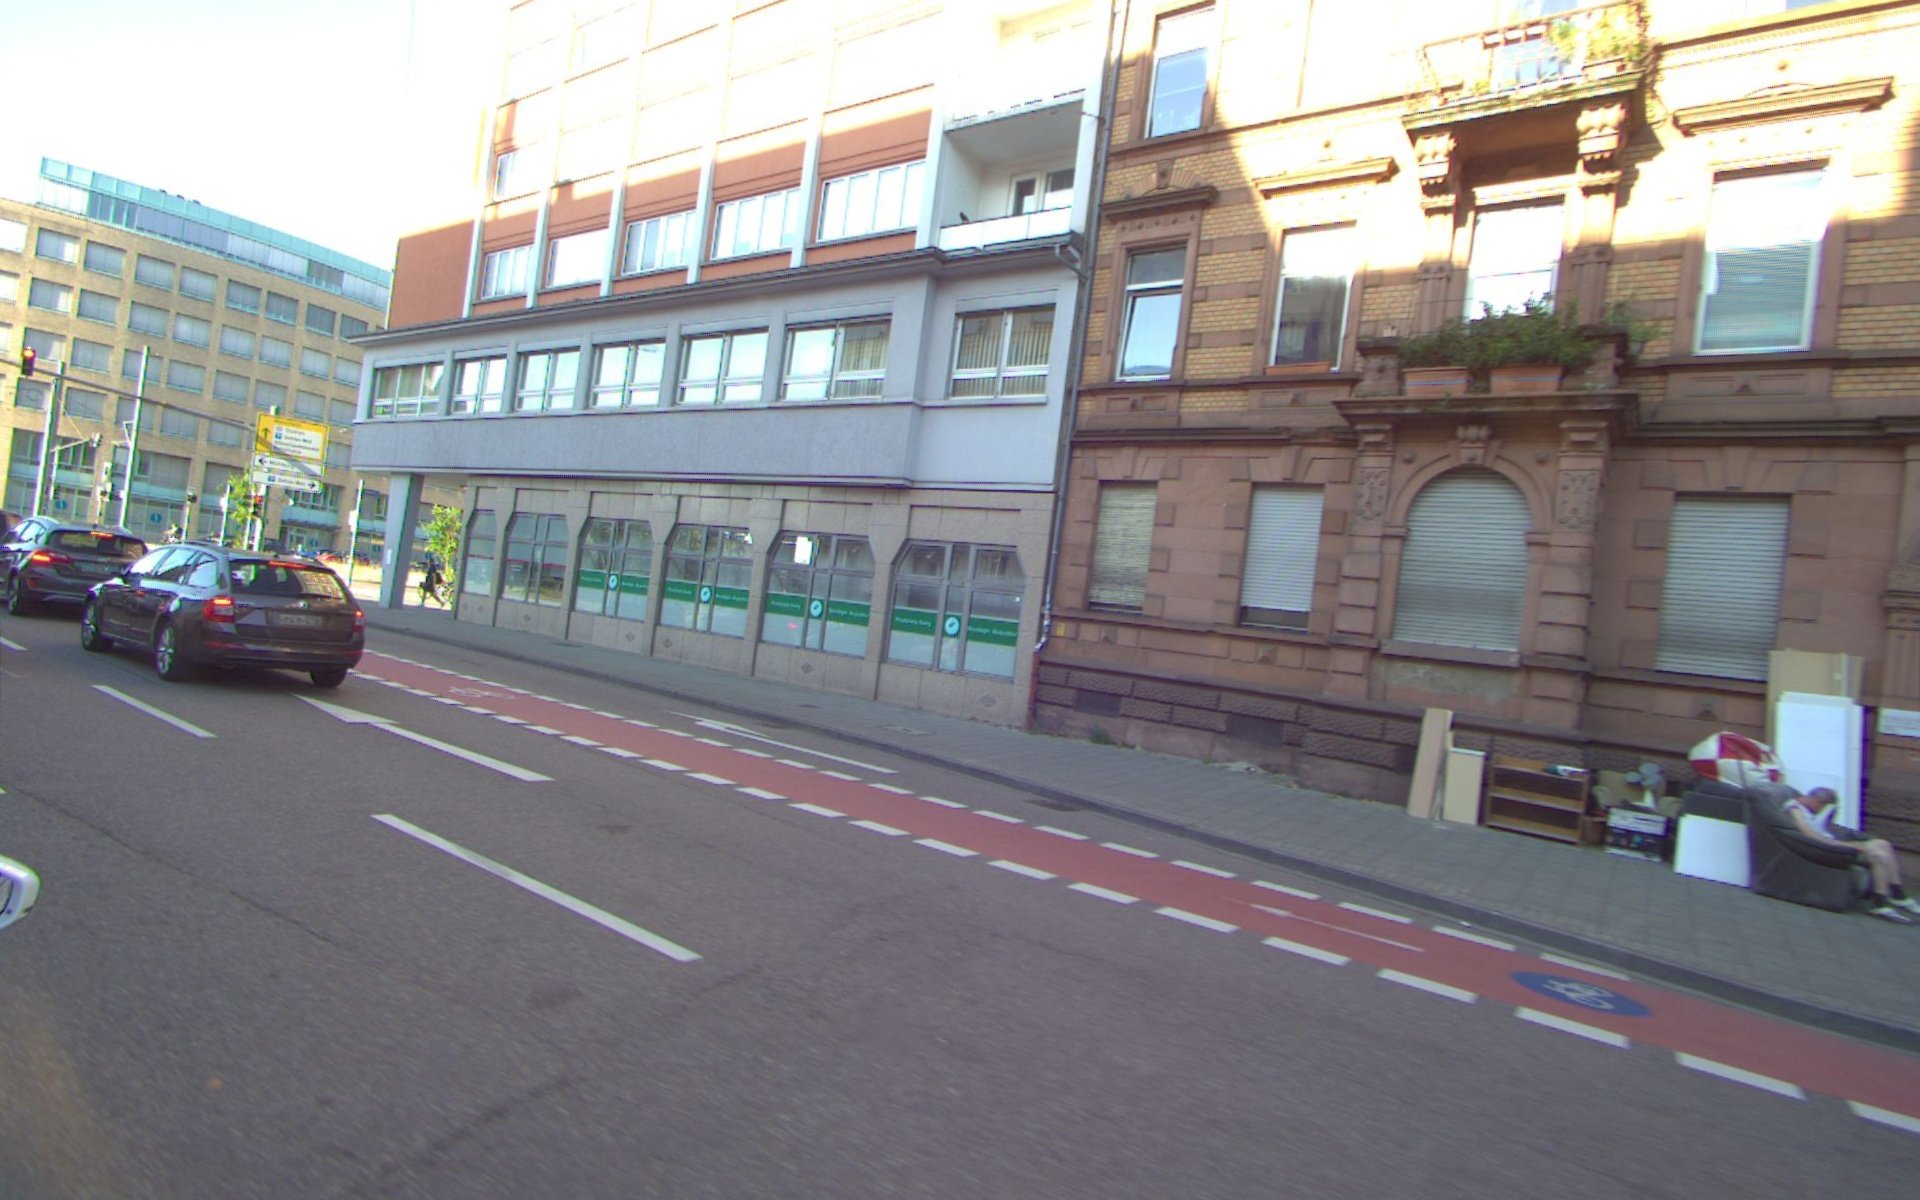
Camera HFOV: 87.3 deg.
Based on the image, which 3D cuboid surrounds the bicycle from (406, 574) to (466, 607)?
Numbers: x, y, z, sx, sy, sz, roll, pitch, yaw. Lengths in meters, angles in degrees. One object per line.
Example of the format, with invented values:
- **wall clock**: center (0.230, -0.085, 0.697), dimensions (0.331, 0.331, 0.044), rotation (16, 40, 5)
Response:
- **bicycle**: center (-22.235, -0.397, 42.740), dimensions (0.731, 1.130, 2.087), rotation (7, -1, 35)

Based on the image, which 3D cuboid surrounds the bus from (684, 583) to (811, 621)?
- **bus**: center (-24.852, 0.386, 119.747), dimensions (2.384, 2.464, 18.195), rotation (7, -2, 33)

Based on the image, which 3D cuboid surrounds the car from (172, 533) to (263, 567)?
- **car**: center (-52.408, -3.517, 71.102), dimensions (1.968, 1.616, 4.654), rotation (7, -2, 33)

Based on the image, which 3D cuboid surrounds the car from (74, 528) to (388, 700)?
- **car**: center (-8.646, 0.120, 11.826), dimensions (4.094, 1.474, 1.709), rotation (6, -2, 36)

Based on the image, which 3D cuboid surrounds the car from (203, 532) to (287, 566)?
- **car**: center (-49.459, -3.545, 69.621), dimensions (1.970, 1.633, 4.230), rotation (6, -2, 38)

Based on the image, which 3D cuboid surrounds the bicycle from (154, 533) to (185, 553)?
- **bicycle**: center (-55.265, -3.988, 70.327), dimensions (0.468, 1.186, 1.517), rotation (7, -1, 43)

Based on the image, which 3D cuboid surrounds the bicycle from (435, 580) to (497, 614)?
- **bicycle**: center (-20.138, -0.111, 41.059), dimensions (0.731, 1.130, 2.087), rotation (7, -1, 35)

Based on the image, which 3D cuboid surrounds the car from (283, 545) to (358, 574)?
- **car**: center (-48.380, -3.033, 76.197), dimensions (1.968, 1.519, 4.235), rotation (7, -2, 33)

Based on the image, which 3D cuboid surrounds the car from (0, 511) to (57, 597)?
- **car**: center (-19.347, -1.046, 19.798), dimensions (3.424, 1.523, 1.491), rotation (6, -2, 35)

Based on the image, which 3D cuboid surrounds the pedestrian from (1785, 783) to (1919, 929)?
- **pedestrian**: center (8.124, 2.280, 9.083), dimensions (0.931, 1.055, 0.691), rotation (6, -1, 39)

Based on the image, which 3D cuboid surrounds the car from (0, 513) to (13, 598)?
- **car**: center (-11.258, -0.344, 10.078), dimensions (4.242, 1.527, 1.709), rotation (6, -3, 36)

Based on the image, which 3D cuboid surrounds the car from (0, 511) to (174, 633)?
- **car**: center (-14.444, -0.524, 16.170), dimensions (4.174, 1.501, 1.652), rotation (6, -3, 36)

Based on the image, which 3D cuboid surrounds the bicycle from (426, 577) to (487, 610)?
- **bicycle**: center (-20.959, -0.255, 41.909), dimensions (0.731, 1.130, 2.087), rotation (7, -1, 35)

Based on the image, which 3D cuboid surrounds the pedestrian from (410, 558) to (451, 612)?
- **pedestrian**: center (-18.881, -0.528, 35.863), dimensions (0.660, 1.789, 0.944), rotation (7, -1, 41)

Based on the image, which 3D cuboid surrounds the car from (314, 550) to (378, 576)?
- **car**: center (-45.602, -2.736, 74.774), dimensions (1.695, 1.358, 3.610), rotation (6, -2, 36)

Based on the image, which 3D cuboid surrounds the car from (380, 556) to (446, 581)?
- **car**: center (-42.958, -2.445, 79.036), dimensions (1.968, 1.362, 3.992), rotation (6, -2, 34)
